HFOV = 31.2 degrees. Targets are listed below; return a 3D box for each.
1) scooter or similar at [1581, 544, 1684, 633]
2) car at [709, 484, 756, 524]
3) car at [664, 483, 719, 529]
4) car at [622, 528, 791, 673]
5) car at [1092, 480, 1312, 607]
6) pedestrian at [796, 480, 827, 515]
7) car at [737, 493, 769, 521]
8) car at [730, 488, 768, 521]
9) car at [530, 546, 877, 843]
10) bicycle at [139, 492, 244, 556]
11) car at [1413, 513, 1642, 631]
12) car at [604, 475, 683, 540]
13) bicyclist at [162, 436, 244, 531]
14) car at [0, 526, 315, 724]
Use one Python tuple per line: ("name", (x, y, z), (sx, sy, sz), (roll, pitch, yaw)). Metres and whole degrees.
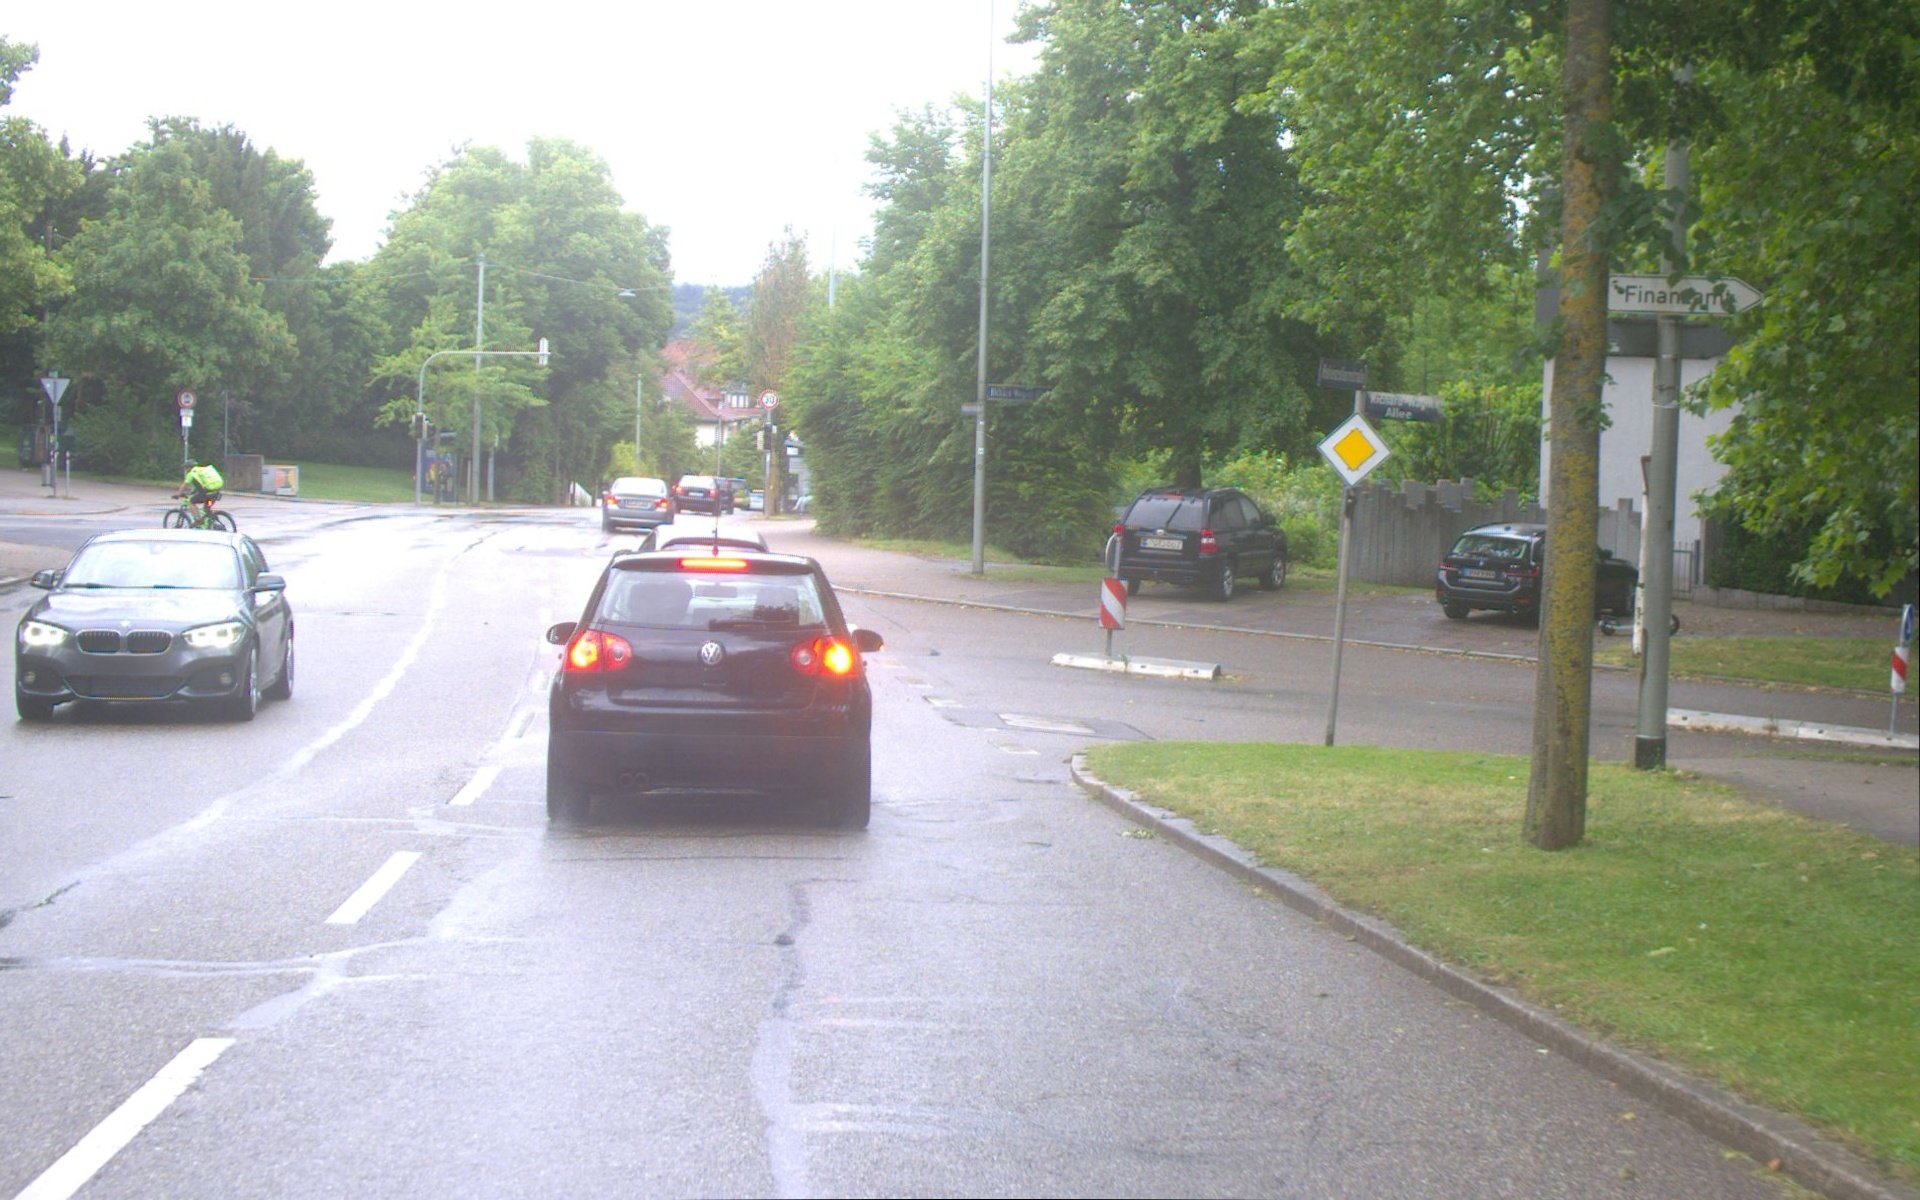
("scooter or similar", (9.834, -0.173, 50.264), (1.335, 1.281, 0.562), (1, 1, -11))
("car", (-9.194, -3.880, 138.974), (1.721, 1.459, 4.001), (5, 2, -3))
("car", (-9.435, -3.318, 121.040), (1.721, 1.459, 4.001), (5, 2, -3))
("car", (-2.868, -0.033, 38.430), (1.754, 1.459, 4.001), (1, 1, -5))
("car", (3.921, -0.945, 54.907), (1.950, 1.683, 4.898), (4, 5, 23))
("pedestrian", (-5.826, -4.017, 135.056), (1.074, 1.351, 0.918), (1, 2, 5))
("car", (-12.310, -5.544, 204.479), (1.721, 1.459, 4.001), (5, 2, -3))
("car", (-10.285, -4.677, 167.892), (1.721, 1.459, 4.001), (5, 2, -3))
("car", (-1.401, 0.476, 19.588), (1.721, 1.459, 4.000), (2, 0, -3))
("bicycle", (-14.438, -1.434, 64.597), (2.036, 1.151, 0.852), (2, 1, 41))
("car", (8.727, -0.466, 52.569), (1.754, 1.464, 4.558), (6, 6, 32))
("car", (-7.990, -2.367, 87.044), (1.721, 1.459, 4.001), (5, 2, -3))
("bicyclist", (-14.177, -2.183, 64.395), (1.285, 1.749, 0.852), (2, 1, 41))
("car", (-6.238, 0.172, 27.105), (1.721, 1.379, 4.140), (2, 0, -4))
